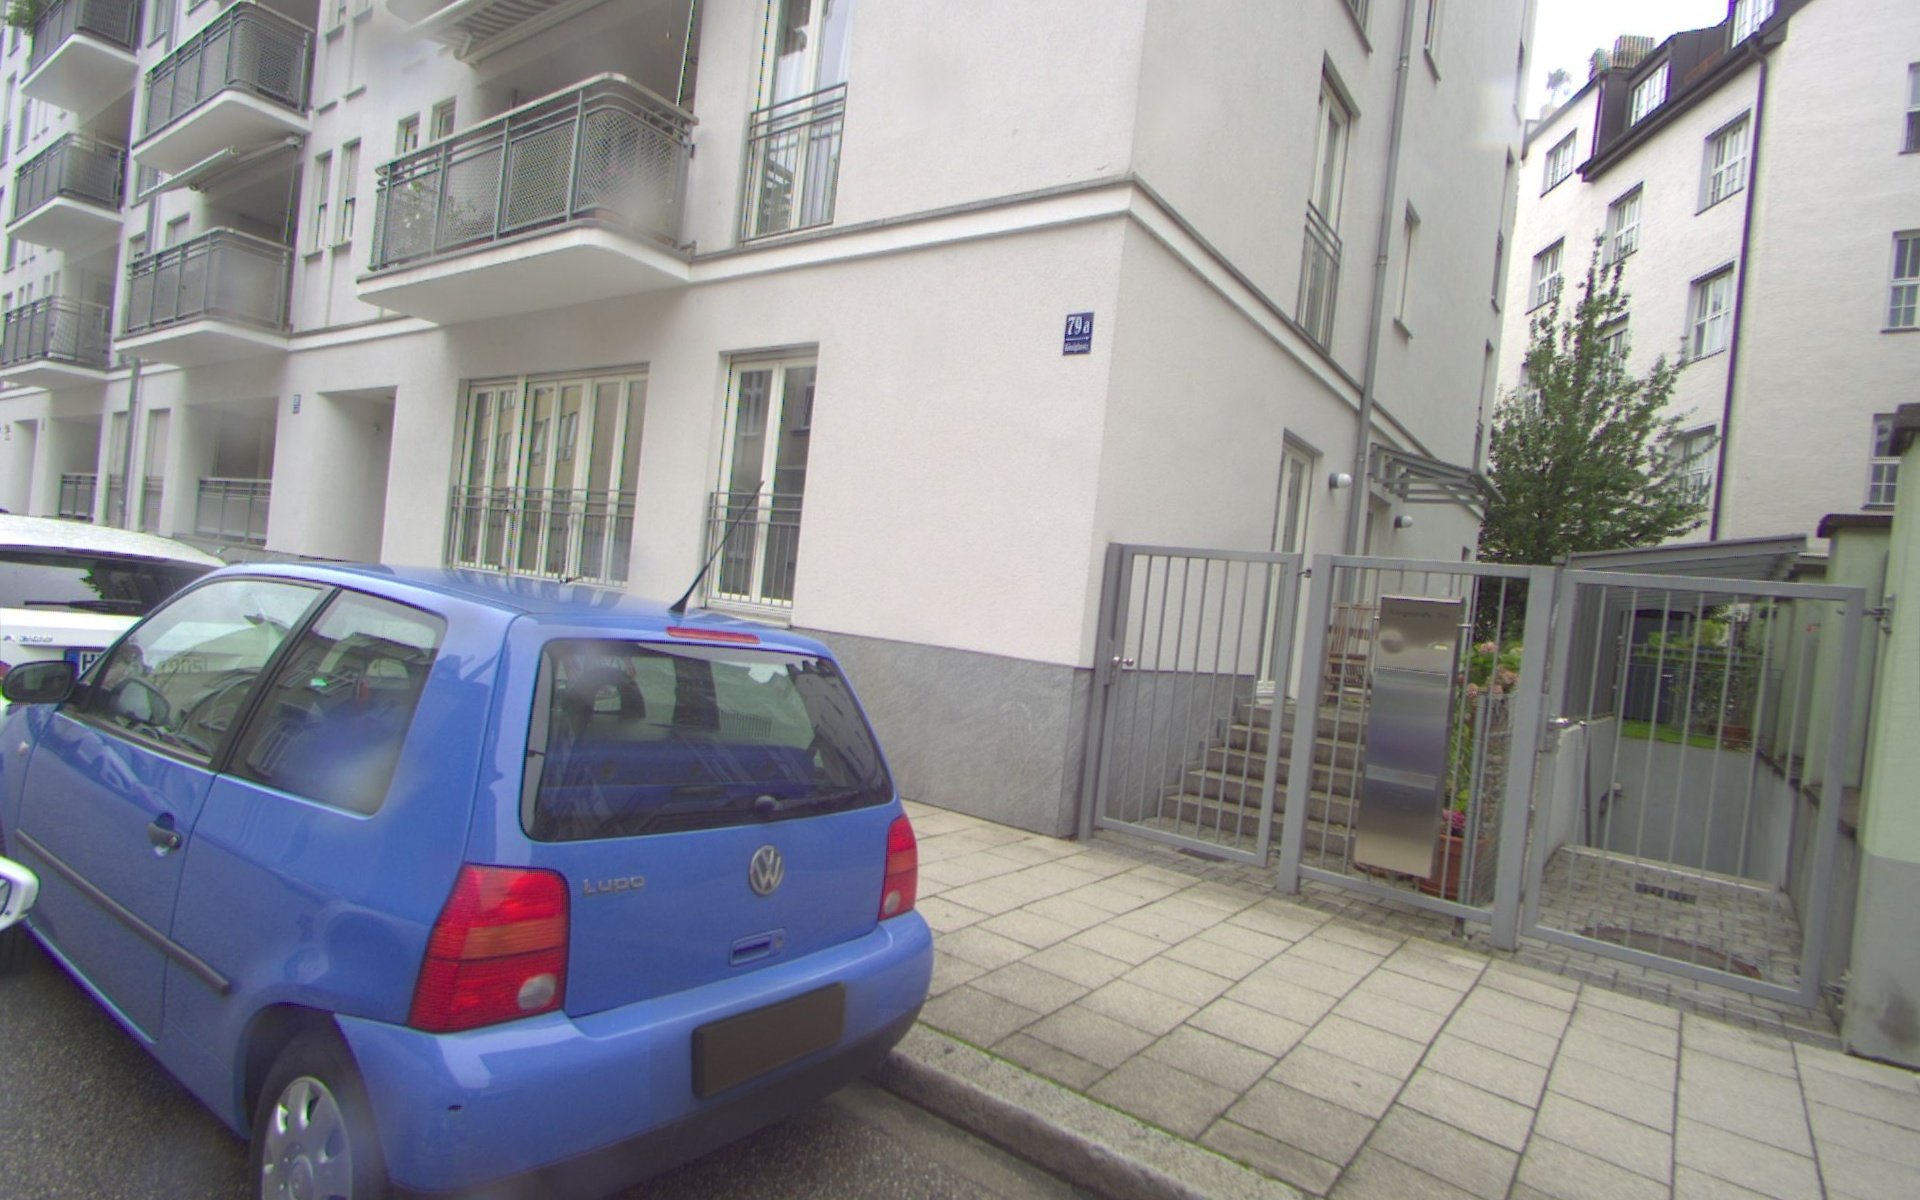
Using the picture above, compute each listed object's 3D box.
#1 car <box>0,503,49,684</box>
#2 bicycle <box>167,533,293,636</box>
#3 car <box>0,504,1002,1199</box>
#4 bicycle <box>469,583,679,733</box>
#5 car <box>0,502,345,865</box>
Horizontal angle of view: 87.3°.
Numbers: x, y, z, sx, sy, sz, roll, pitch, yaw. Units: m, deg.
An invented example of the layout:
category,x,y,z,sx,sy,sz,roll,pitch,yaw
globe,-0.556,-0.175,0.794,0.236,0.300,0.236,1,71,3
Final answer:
category,x,y,z,sx,sy,sz,roll,pitch,yaw
car,-10.201,-0.289,9.347,3.921,1.548,1.606,6,-2,35
bicycle,-9.847,-0.224,13.536,2.093,1.175,0.627,6,1,34
car,-1.840,0.580,3.261,3.497,1.428,1.621,6,-3,34
bicycle,-3.230,0.449,8.355,1.806,1.040,0.677,4,-1,35
car,-5.322,0.207,5.535,4.140,1.456,1.660,6,-2,35
